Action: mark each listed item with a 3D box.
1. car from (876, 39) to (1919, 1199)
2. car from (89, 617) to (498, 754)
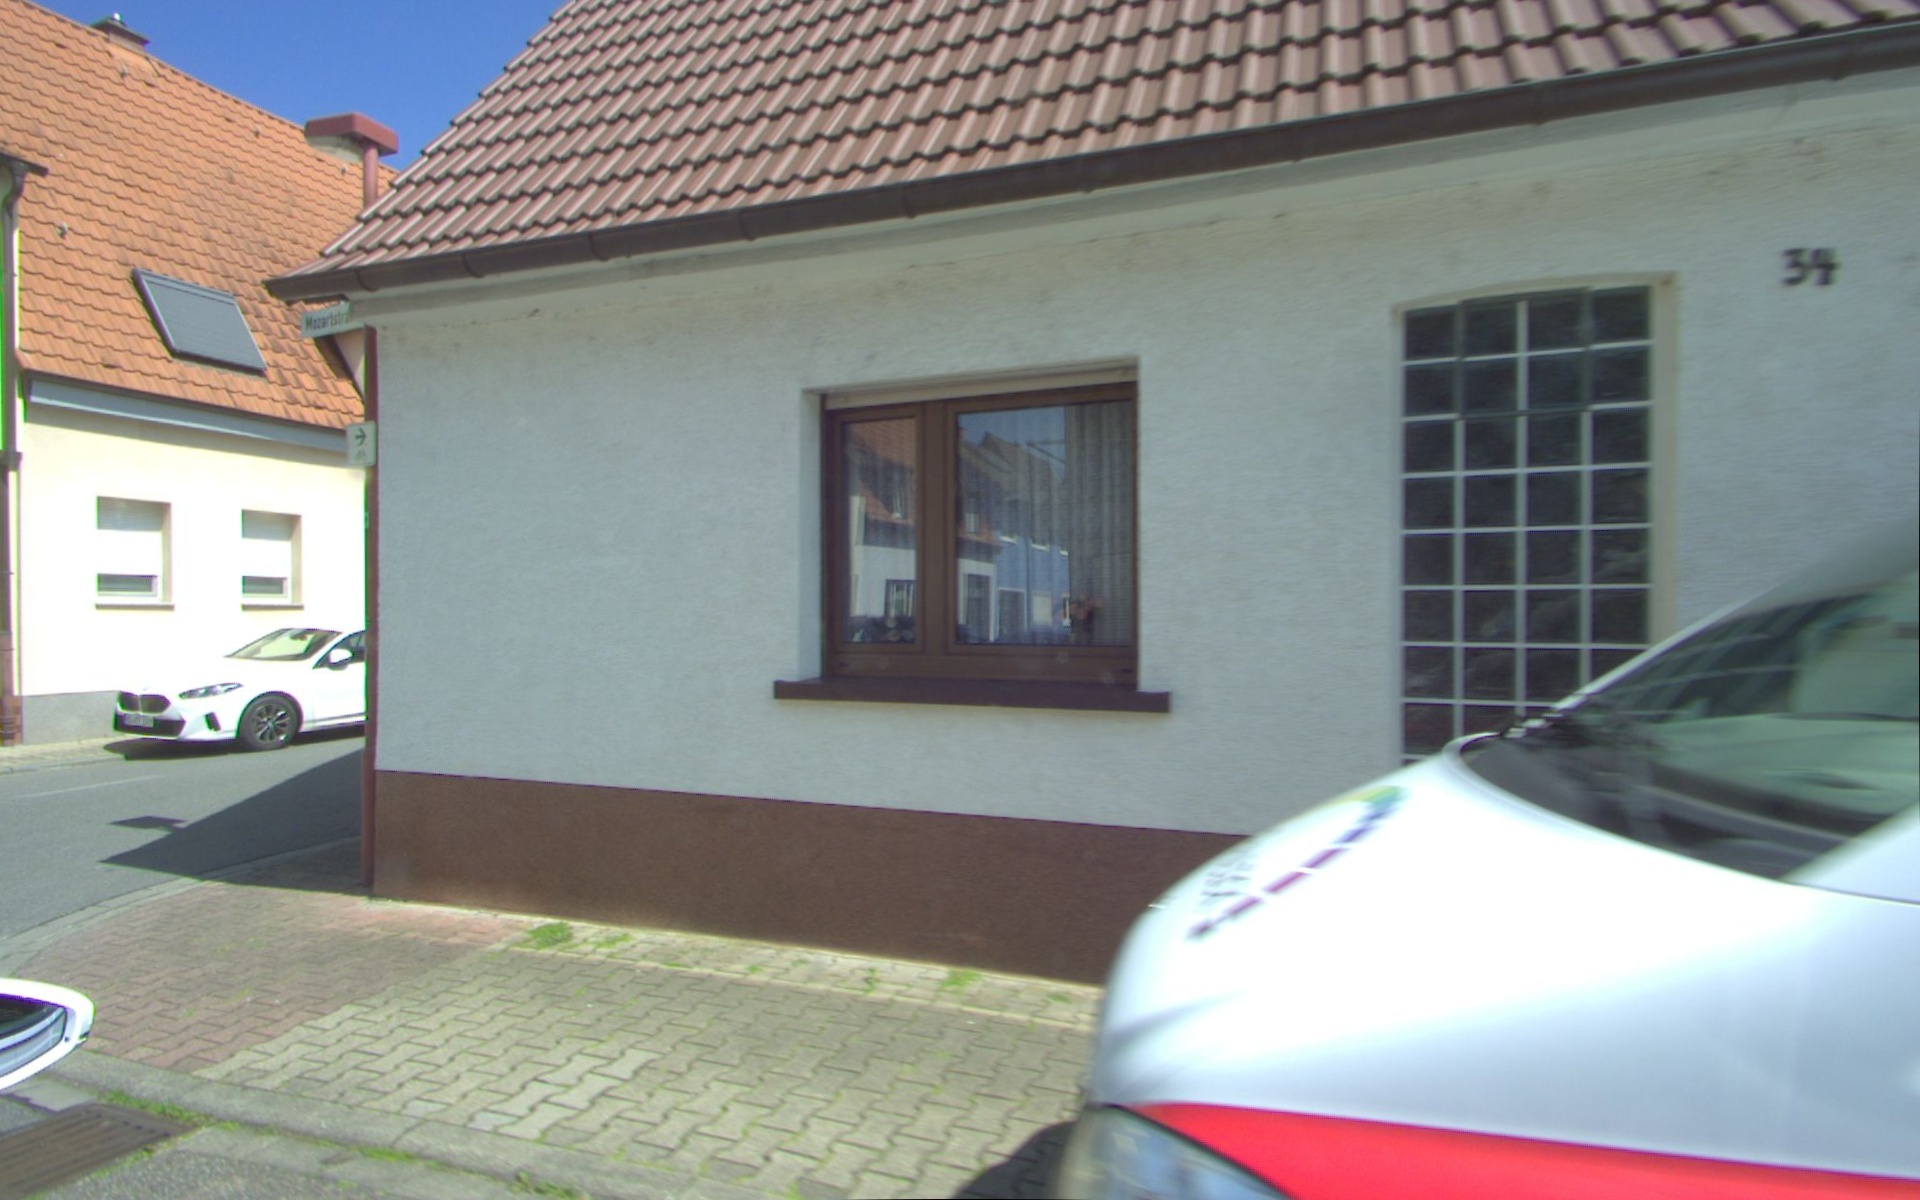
[{"bbox_3d":[2.677,0.537,1.044,5.174,1.862,2.015,0,-2,22],"label":"car"},{"bbox_3d":[-8.373,0.989,13.080,1.758,1.472,4.206,-1,-2,22],"label":"car"}]
